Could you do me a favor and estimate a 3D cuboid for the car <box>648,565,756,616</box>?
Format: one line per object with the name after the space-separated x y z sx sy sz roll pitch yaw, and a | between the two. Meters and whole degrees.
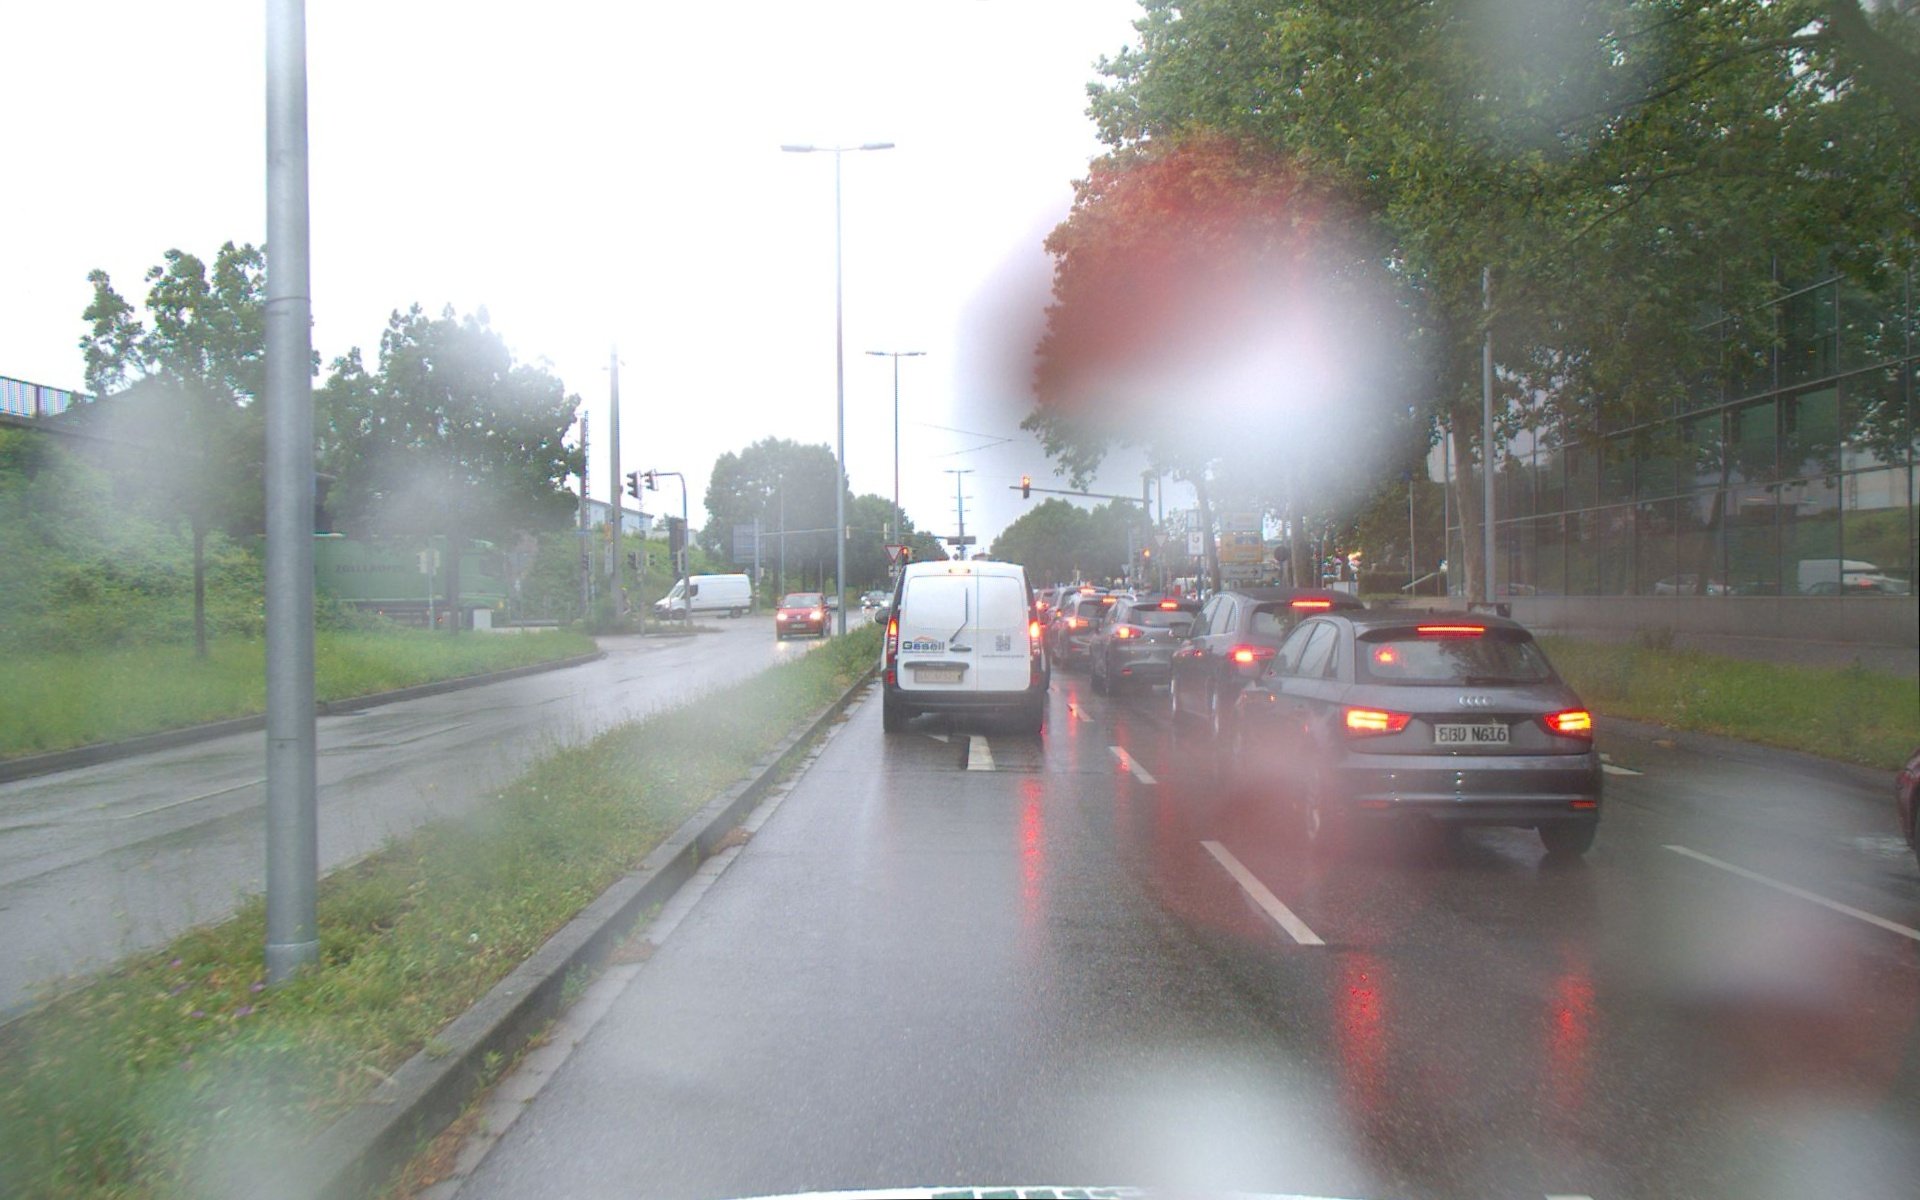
-14.875 -0.522 95.682 5.955 2.792 1.974 1 -2 -37 | car

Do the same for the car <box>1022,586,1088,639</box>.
2.698 0.325 47.694 1.676 1.470 4.000 0 1 0 | car

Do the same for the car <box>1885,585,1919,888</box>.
5.908 0.713 6.848 1.802 1.563 4.110 1 0 -1 | car

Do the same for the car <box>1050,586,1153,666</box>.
2.723 0.470 32.604 1.676 1.470 4.000 0 1 0 | car

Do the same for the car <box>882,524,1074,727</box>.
0.135 0.303 18.838 1.953 2.049 3.998 0 -1 -2 | car

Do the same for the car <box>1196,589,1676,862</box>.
2.898 0.692 11.054 1.953 1.477 3.999 1 0 -2 | car

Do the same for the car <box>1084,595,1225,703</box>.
2.875 0.680 25.177 1.676 1.470 4.000 0 1 0 | car

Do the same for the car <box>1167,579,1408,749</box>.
3.347 0.580 17.640 1.674 1.577 3.999 0 1 -2 | car

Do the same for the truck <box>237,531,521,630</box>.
-22.284 -0.634 63.937 10.033 3.512 2.623 1 -2 -37 | truck

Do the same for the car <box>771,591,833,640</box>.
-5.340 0.507 56.284 1.680 1.540 3.614 -2 1 1 | car

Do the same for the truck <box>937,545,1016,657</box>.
0.347 0.021 39.114 1.721 2.509 3.999 0 0 -2 | truck
